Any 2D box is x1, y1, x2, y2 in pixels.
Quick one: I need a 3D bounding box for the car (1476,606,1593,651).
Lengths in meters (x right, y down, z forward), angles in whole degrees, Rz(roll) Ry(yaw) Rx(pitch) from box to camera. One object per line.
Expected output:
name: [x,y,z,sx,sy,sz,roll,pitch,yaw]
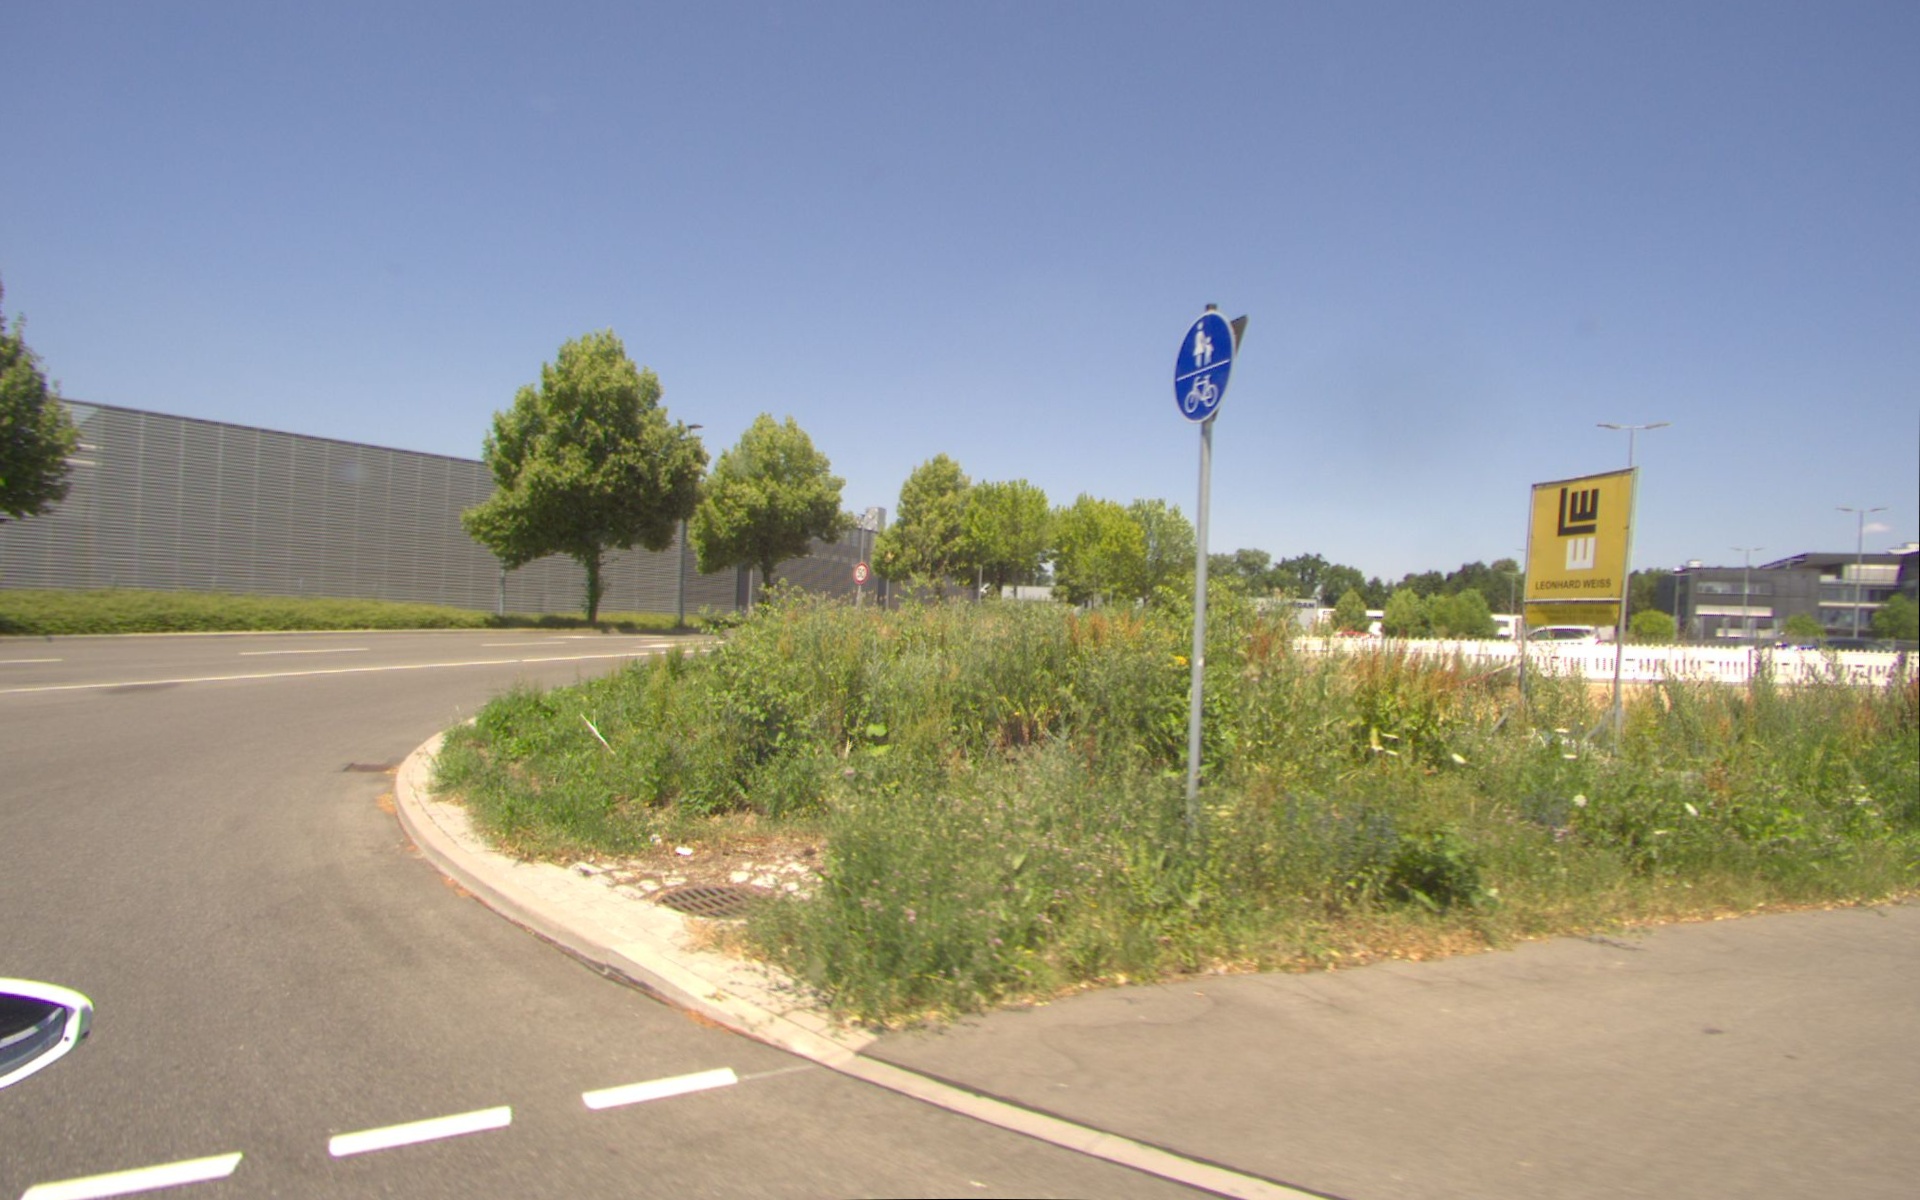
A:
car: [26.010,1.261,45.503,4.403,1.940,1.934,1,0,25]
